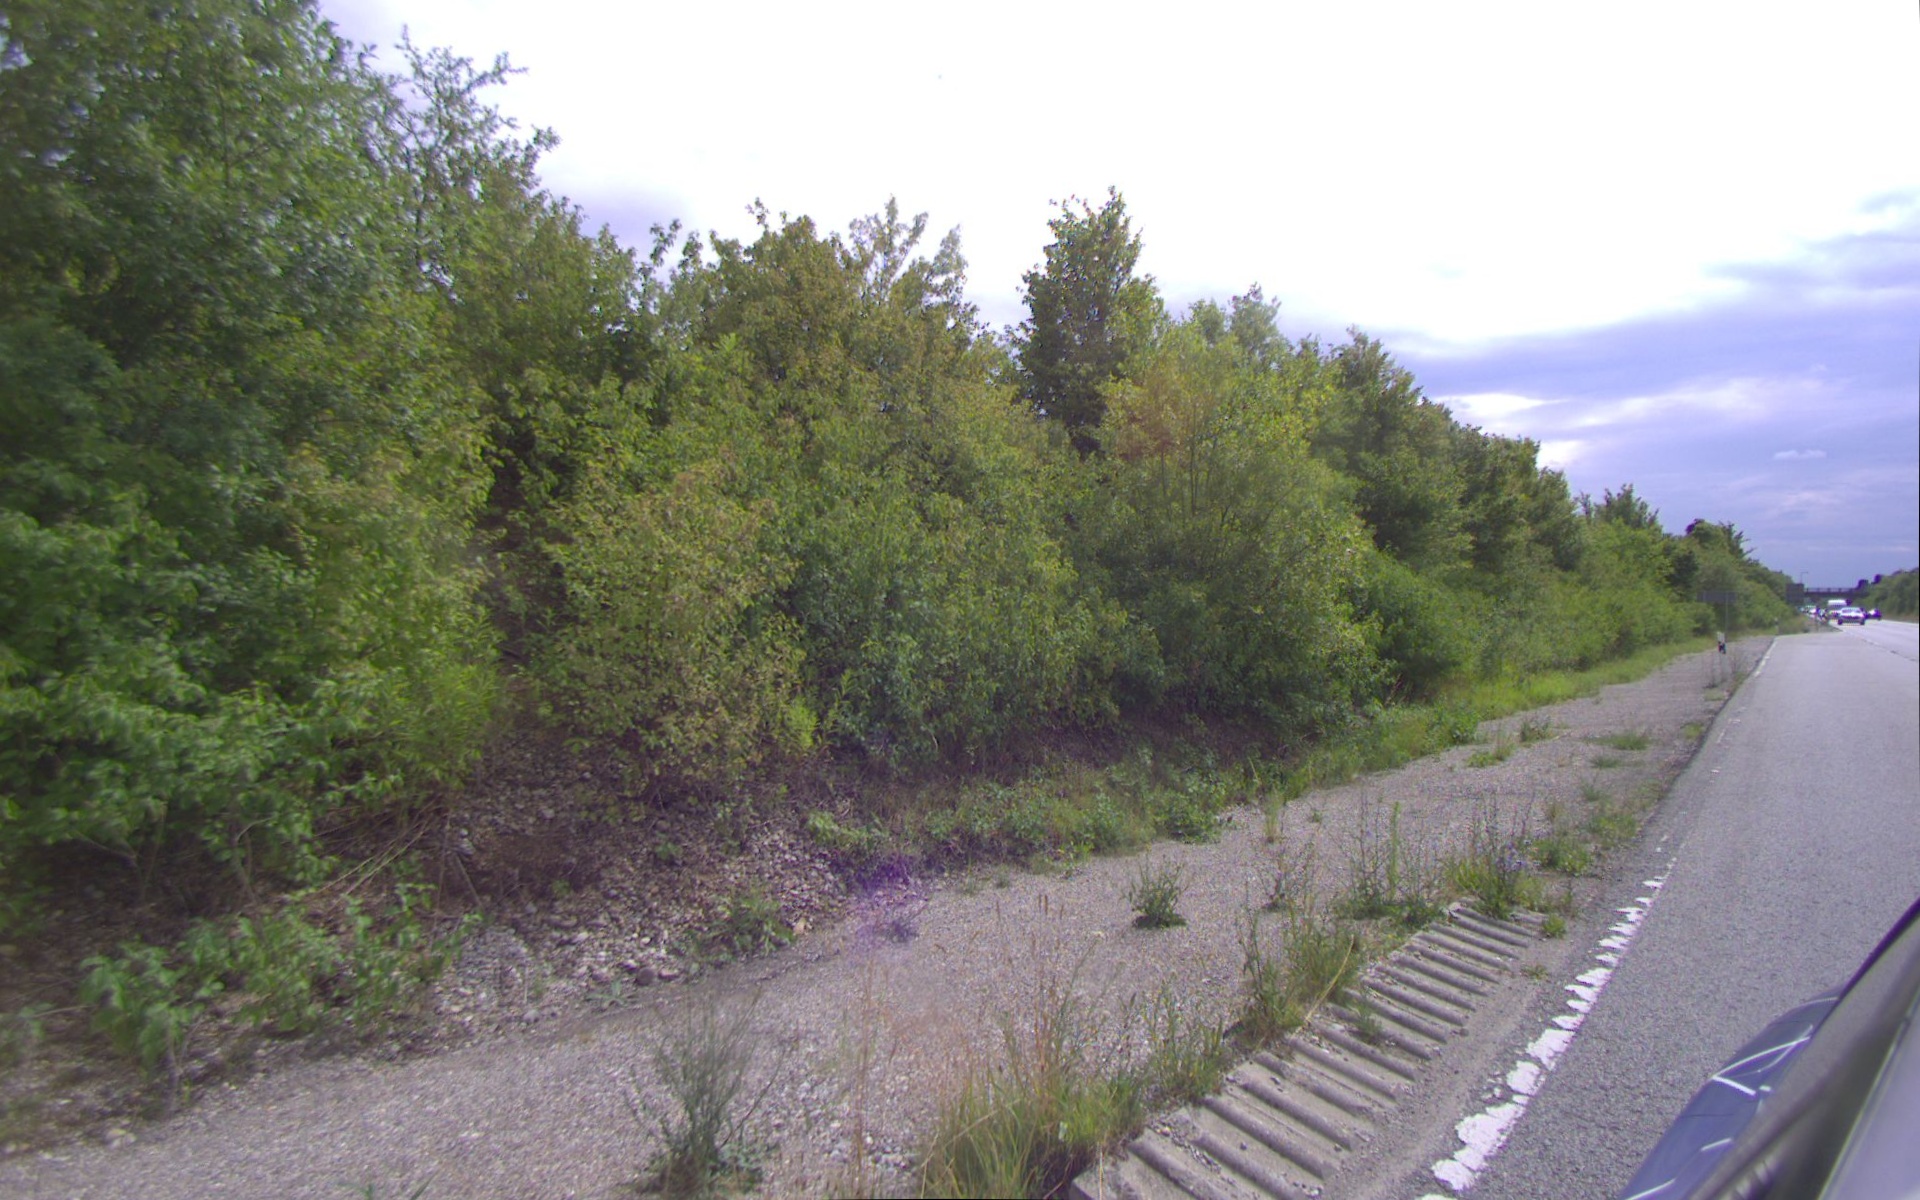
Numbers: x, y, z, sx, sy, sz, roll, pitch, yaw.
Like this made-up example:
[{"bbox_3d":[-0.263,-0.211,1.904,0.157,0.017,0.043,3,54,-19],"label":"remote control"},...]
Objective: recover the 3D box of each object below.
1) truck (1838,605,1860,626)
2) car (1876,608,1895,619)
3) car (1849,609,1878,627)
[{"bbox_3d":[109.725,1.876,124.987,1.795,2.566,6.589,-2,-1,40],"label":"truck"},{"bbox_3d":[125.854,1.823,137.622,1.698,1.347,3.942,0,0,40],"label":"car"},{"bbox_3d":[85.747,1.687,96.063,1.863,1.627,3.942,-1,-1,40],"label":"car"}]
